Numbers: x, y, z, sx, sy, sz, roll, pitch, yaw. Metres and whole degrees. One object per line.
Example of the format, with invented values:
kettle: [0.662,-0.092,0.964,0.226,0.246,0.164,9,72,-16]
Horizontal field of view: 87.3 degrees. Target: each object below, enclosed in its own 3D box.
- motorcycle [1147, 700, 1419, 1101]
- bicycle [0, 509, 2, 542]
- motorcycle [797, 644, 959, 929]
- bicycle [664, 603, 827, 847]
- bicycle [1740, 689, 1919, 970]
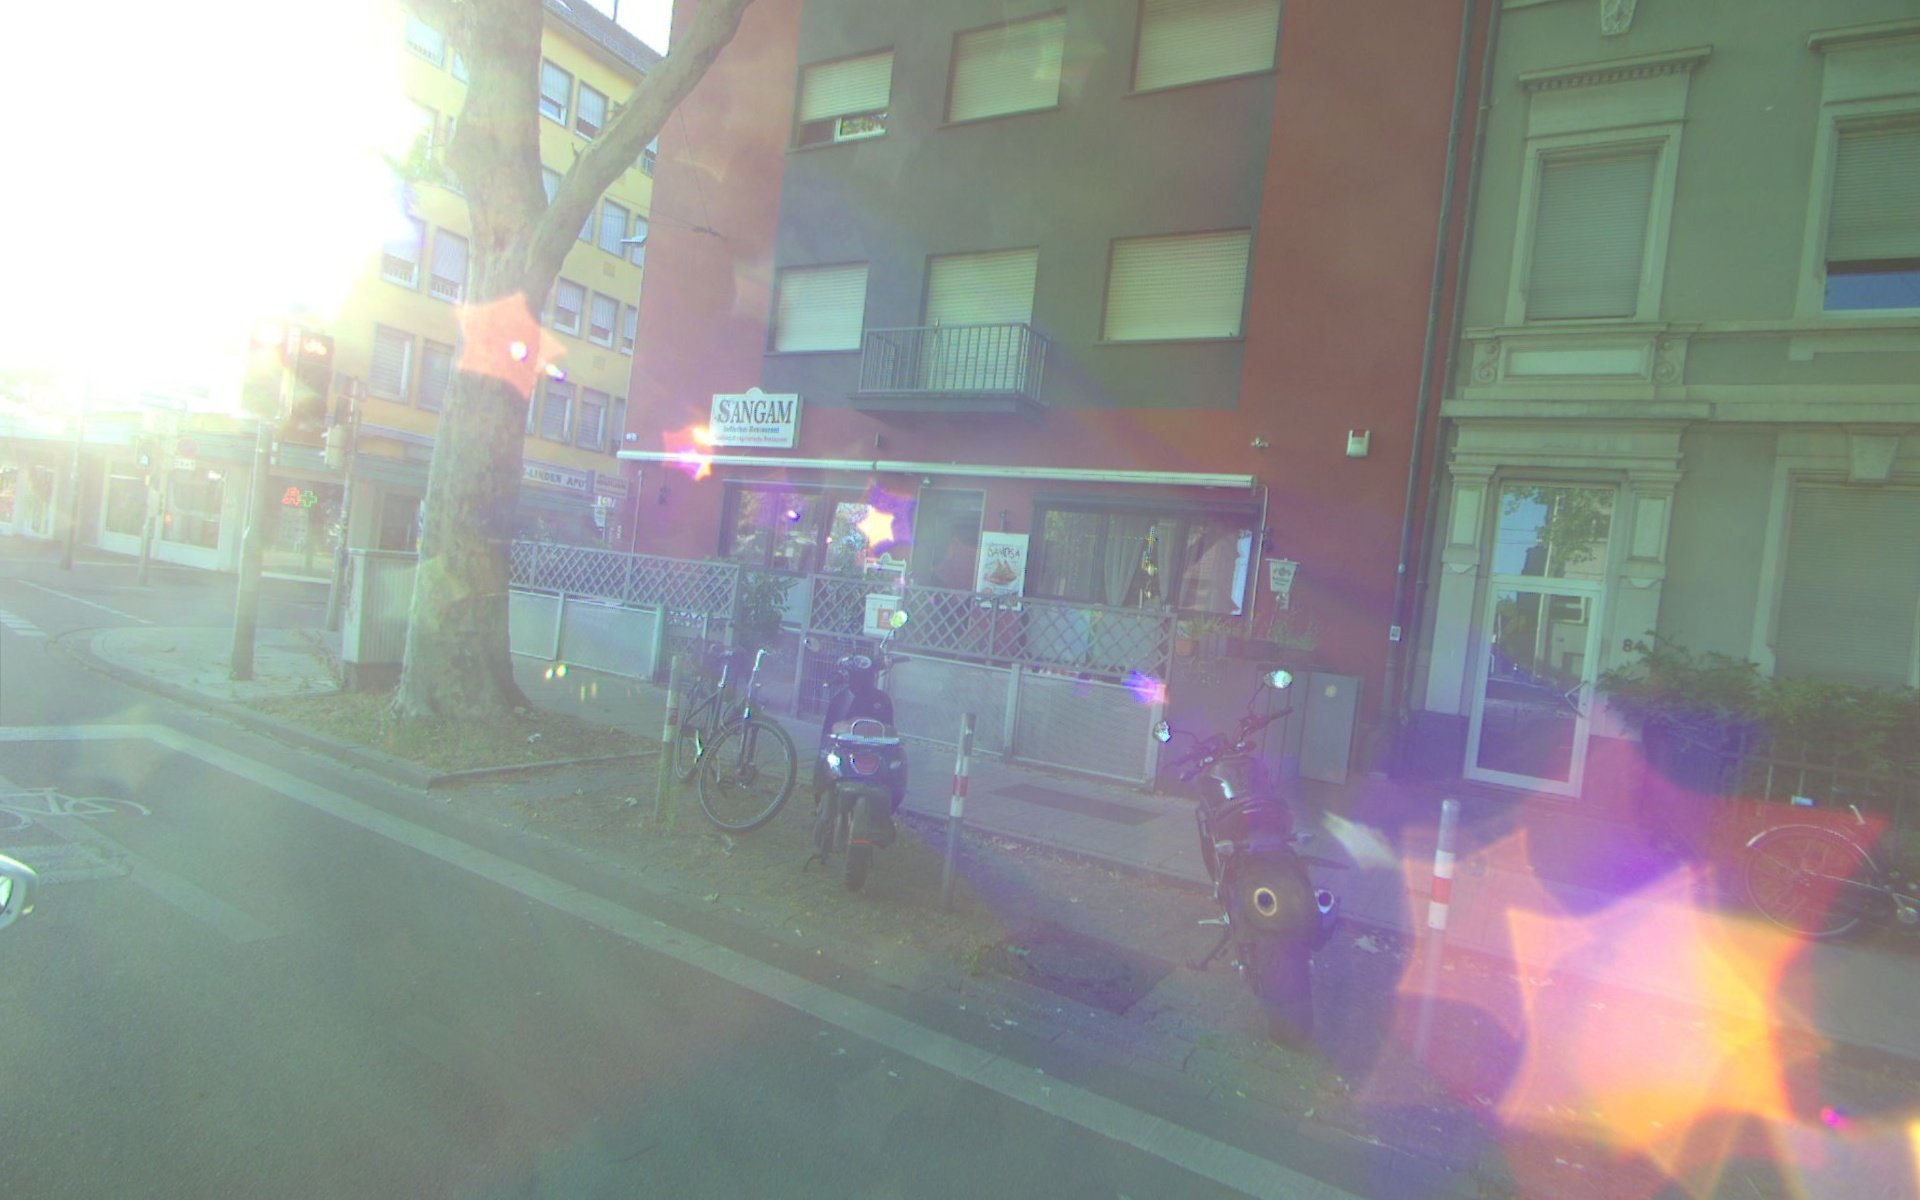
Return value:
motorcycle: [1.323,1.155,4.615,0.752,1.077,2.212,7,2,9]
bicycle: [-23.427,-1.708,23.206,0.683,1.034,1.774,7,1,31]
motorcycle: [-0.536,0.918,5.650,0.591,1.166,1.994,6,0,-10]
bicycle: [-1.486,0.745,6.676,0.686,1.219,1.837,8,2,-20]
bicycle: [5.871,1.376,5.502,2.356,1.443,0.608,6,-1,32]
